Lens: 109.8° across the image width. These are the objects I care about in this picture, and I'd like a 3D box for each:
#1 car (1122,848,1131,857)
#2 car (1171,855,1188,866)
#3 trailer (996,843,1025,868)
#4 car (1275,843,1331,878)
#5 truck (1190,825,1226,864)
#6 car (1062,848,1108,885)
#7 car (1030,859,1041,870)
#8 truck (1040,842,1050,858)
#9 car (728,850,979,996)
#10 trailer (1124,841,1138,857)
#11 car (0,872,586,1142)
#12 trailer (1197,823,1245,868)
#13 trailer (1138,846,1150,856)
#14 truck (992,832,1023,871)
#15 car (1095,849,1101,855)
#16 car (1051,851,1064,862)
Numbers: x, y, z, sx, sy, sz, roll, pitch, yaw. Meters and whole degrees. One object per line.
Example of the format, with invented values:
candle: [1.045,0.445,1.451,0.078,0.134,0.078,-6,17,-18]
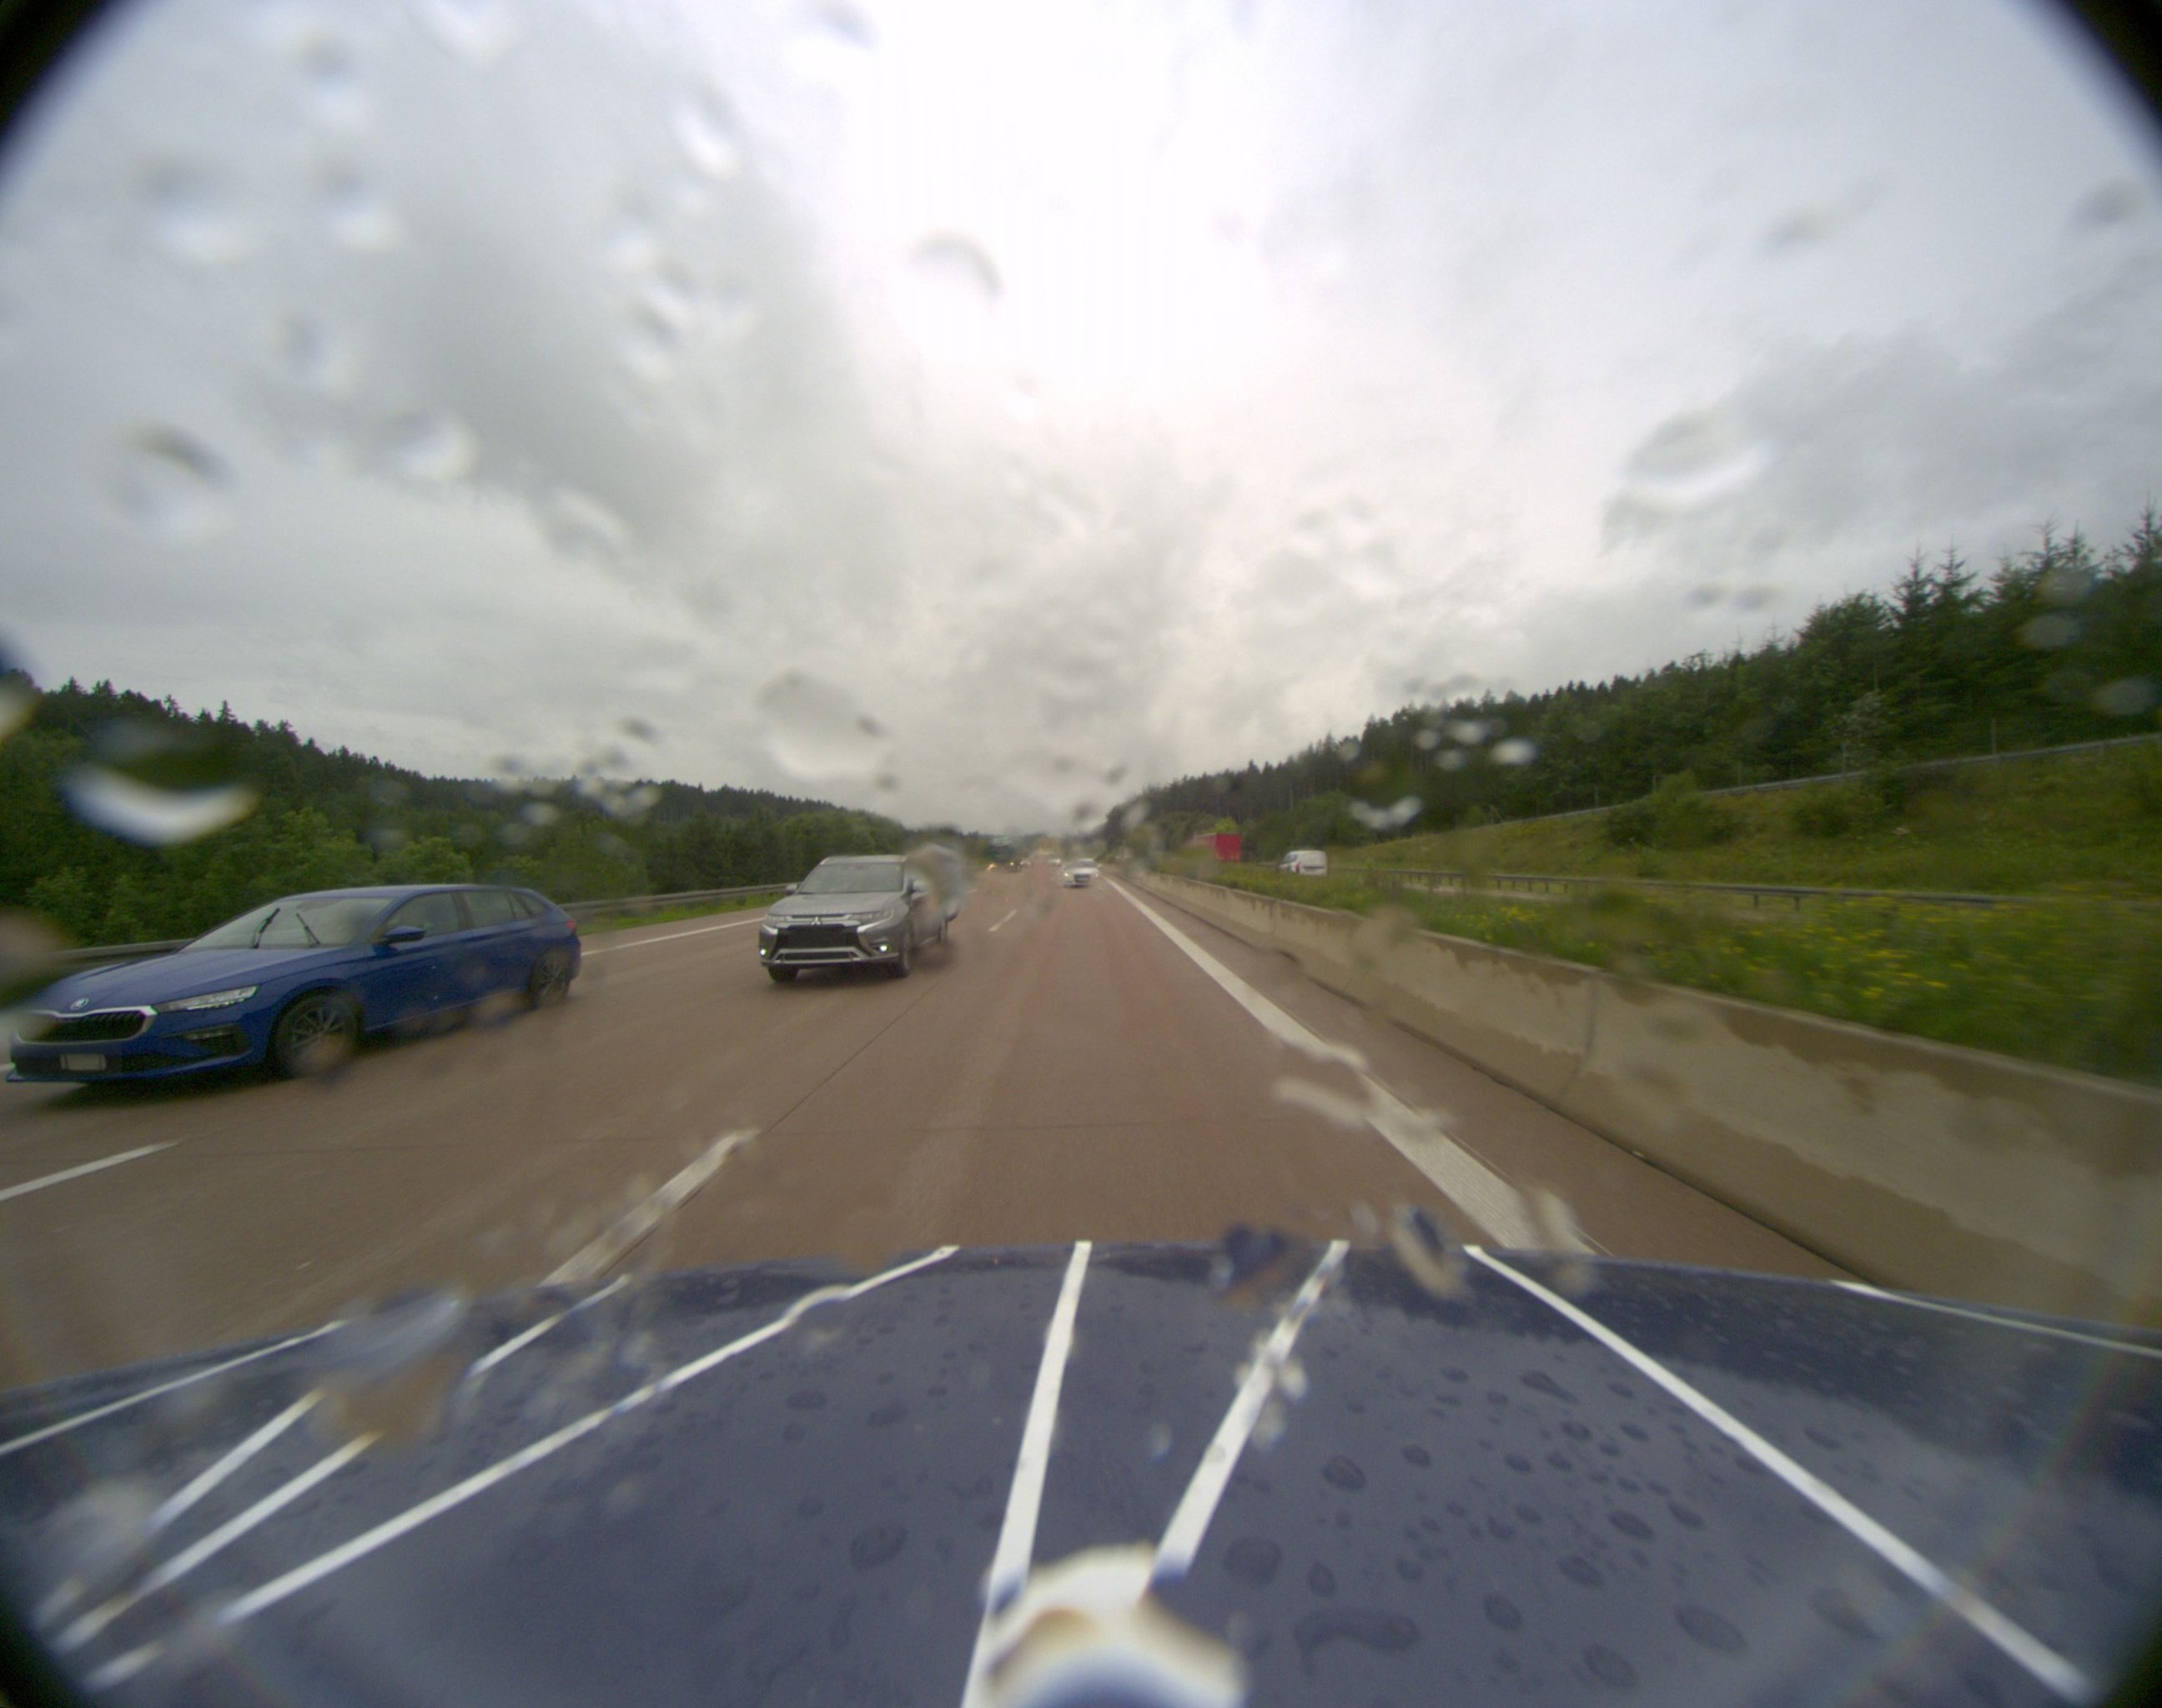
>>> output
car: [10.070,-0.379,168.297,1.869,1.656,4.707,-3,1,1]
car: [15.260,0.969,117.504,1.999,1.566,4.523,-1,1,0]
trailer: [-8.380,0.128,91.413,2.889,2.660,11.392,-3,1,-3]
car: [12.257,0.327,42.225,1.738,1.712,4.761,-3,1,1]
truck: [15.288,-1.175,91.905,2.958,4.452,6.790,-3,2,0]
car: [0.137,0.601,39.308,1.999,1.623,4.928,-3,1,-3]
car: [-7.480,1.681,125.459,1.703,1.602,4.974,-2,1,-4]
truck: [-9.978,-1.155,212.578,2.611,4.190,6.247,-3,2,-3]
car: [-3.159,0.832,12.154,1.998,1.584,5.819,-2,1,2]
trailer: [13.939,-1.412,213.937,2.746,4.116,12.750,0,1,-1]
car: [-6.917,1.082,7.131,1.776,1.555,4.145,-3,1,-1]
trailer: [15.337,-1.002,84.264,2.948,4.463,11.771,-3,1,0]
trailer: [14.711,-0.741,178.742,2.283,2.397,5.437,1,0,-1]
truck: [-8.003,-0.343,83.522,2.905,3.942,6.985,-3,2,-3]
car: [4.957,-0.530,225.689,1.674,1.656,4.475,-3,1,-1]
car: [-3.854,0.445,126.526,1.999,1.623,4.928,-3,1,-3]
